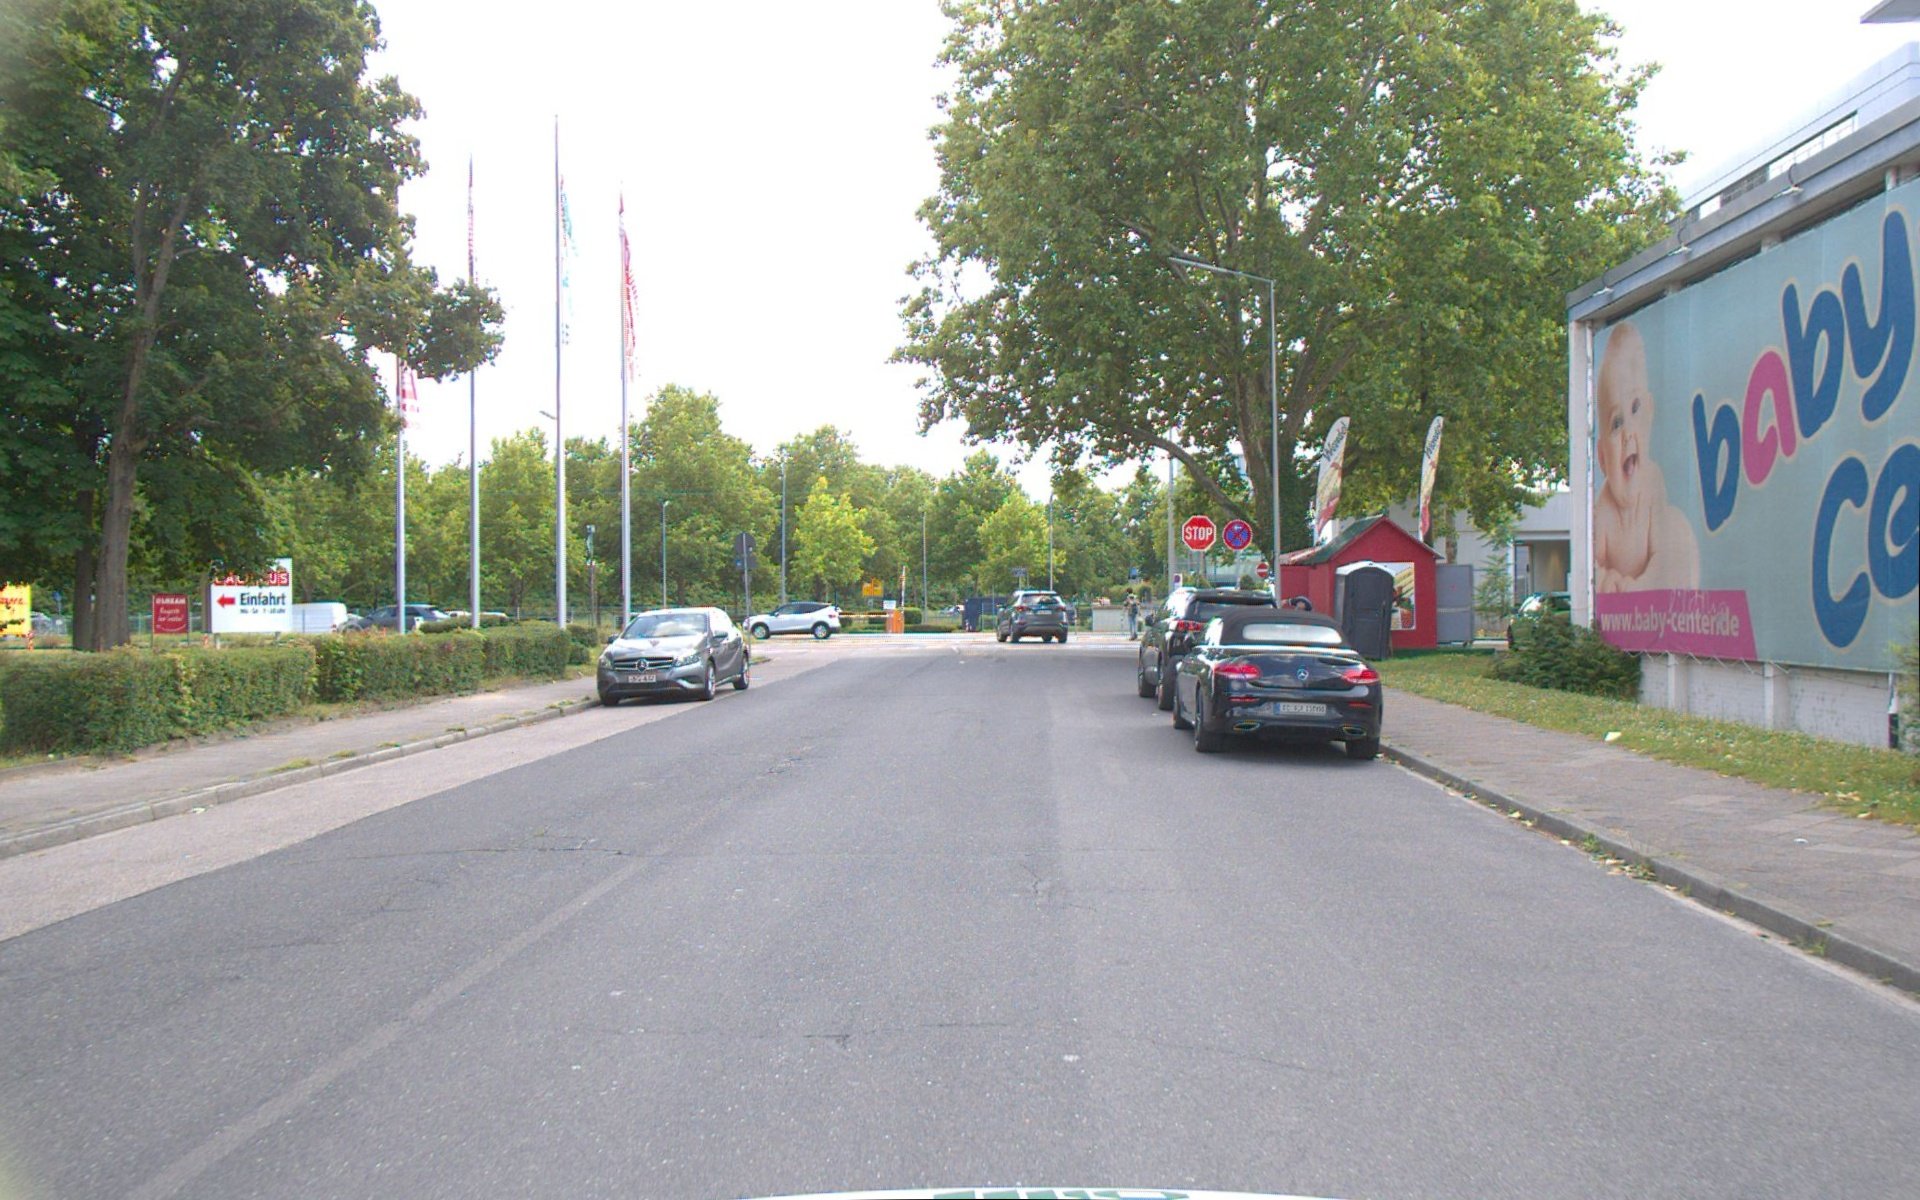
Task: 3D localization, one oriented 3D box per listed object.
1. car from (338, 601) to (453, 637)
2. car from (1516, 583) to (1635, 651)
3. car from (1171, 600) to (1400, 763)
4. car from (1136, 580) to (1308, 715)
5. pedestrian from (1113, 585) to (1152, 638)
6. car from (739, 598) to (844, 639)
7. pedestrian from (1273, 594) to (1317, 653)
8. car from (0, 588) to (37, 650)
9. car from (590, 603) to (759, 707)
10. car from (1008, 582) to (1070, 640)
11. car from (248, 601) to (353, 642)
[{"bbox_3d":[-23.493,0.769,68.938,4.133,1.430,1.924,-1,0,0],"label":"car"},{"bbox_3d":[14.592,0.381,39.398,1.702,1.538,4.003,-1,0,6],"label":"car"},{"bbox_3d":[3.304,0.754,17.595,1.770,1.415,4.590,2,0,4],"label":"car"},{"bbox_3d":[3.642,0.598,23.767,1.771,1.694,4.641,2,0,1],"label":"car"},{"bbox_3d":[6.111,0.405,58.625,0.984,1.881,1.224,0,0,-15],"label":"pedestrian"},{"bbox_3d":[-7.013,0.765,69.118,4.133,1.607,1.924,-1,0,0],"label":"car"},{"bbox_3d":[7.760,0.540,38.345,0.992,1.337,0.965,0,0,10],"label":"pedestrian"},{"bbox_3d":[-43.522,0.854,71.829,6.248,2.623,2.207,-1,0,16],"label":"car"},{"bbox_3d":[-4.555,0.831,27.033,1.674,1.444,4.333,-3,0,4],"label":"car"},{"bbox_3d":[2.615,0.340,55.665,1.921,1.847,4.276,-1,0,1],"label":"car"},{"bbox_3d":[-37.409,1.224,93.858,5.178,2.250,1.797,-1,-1,-1],"label":"car"}]
